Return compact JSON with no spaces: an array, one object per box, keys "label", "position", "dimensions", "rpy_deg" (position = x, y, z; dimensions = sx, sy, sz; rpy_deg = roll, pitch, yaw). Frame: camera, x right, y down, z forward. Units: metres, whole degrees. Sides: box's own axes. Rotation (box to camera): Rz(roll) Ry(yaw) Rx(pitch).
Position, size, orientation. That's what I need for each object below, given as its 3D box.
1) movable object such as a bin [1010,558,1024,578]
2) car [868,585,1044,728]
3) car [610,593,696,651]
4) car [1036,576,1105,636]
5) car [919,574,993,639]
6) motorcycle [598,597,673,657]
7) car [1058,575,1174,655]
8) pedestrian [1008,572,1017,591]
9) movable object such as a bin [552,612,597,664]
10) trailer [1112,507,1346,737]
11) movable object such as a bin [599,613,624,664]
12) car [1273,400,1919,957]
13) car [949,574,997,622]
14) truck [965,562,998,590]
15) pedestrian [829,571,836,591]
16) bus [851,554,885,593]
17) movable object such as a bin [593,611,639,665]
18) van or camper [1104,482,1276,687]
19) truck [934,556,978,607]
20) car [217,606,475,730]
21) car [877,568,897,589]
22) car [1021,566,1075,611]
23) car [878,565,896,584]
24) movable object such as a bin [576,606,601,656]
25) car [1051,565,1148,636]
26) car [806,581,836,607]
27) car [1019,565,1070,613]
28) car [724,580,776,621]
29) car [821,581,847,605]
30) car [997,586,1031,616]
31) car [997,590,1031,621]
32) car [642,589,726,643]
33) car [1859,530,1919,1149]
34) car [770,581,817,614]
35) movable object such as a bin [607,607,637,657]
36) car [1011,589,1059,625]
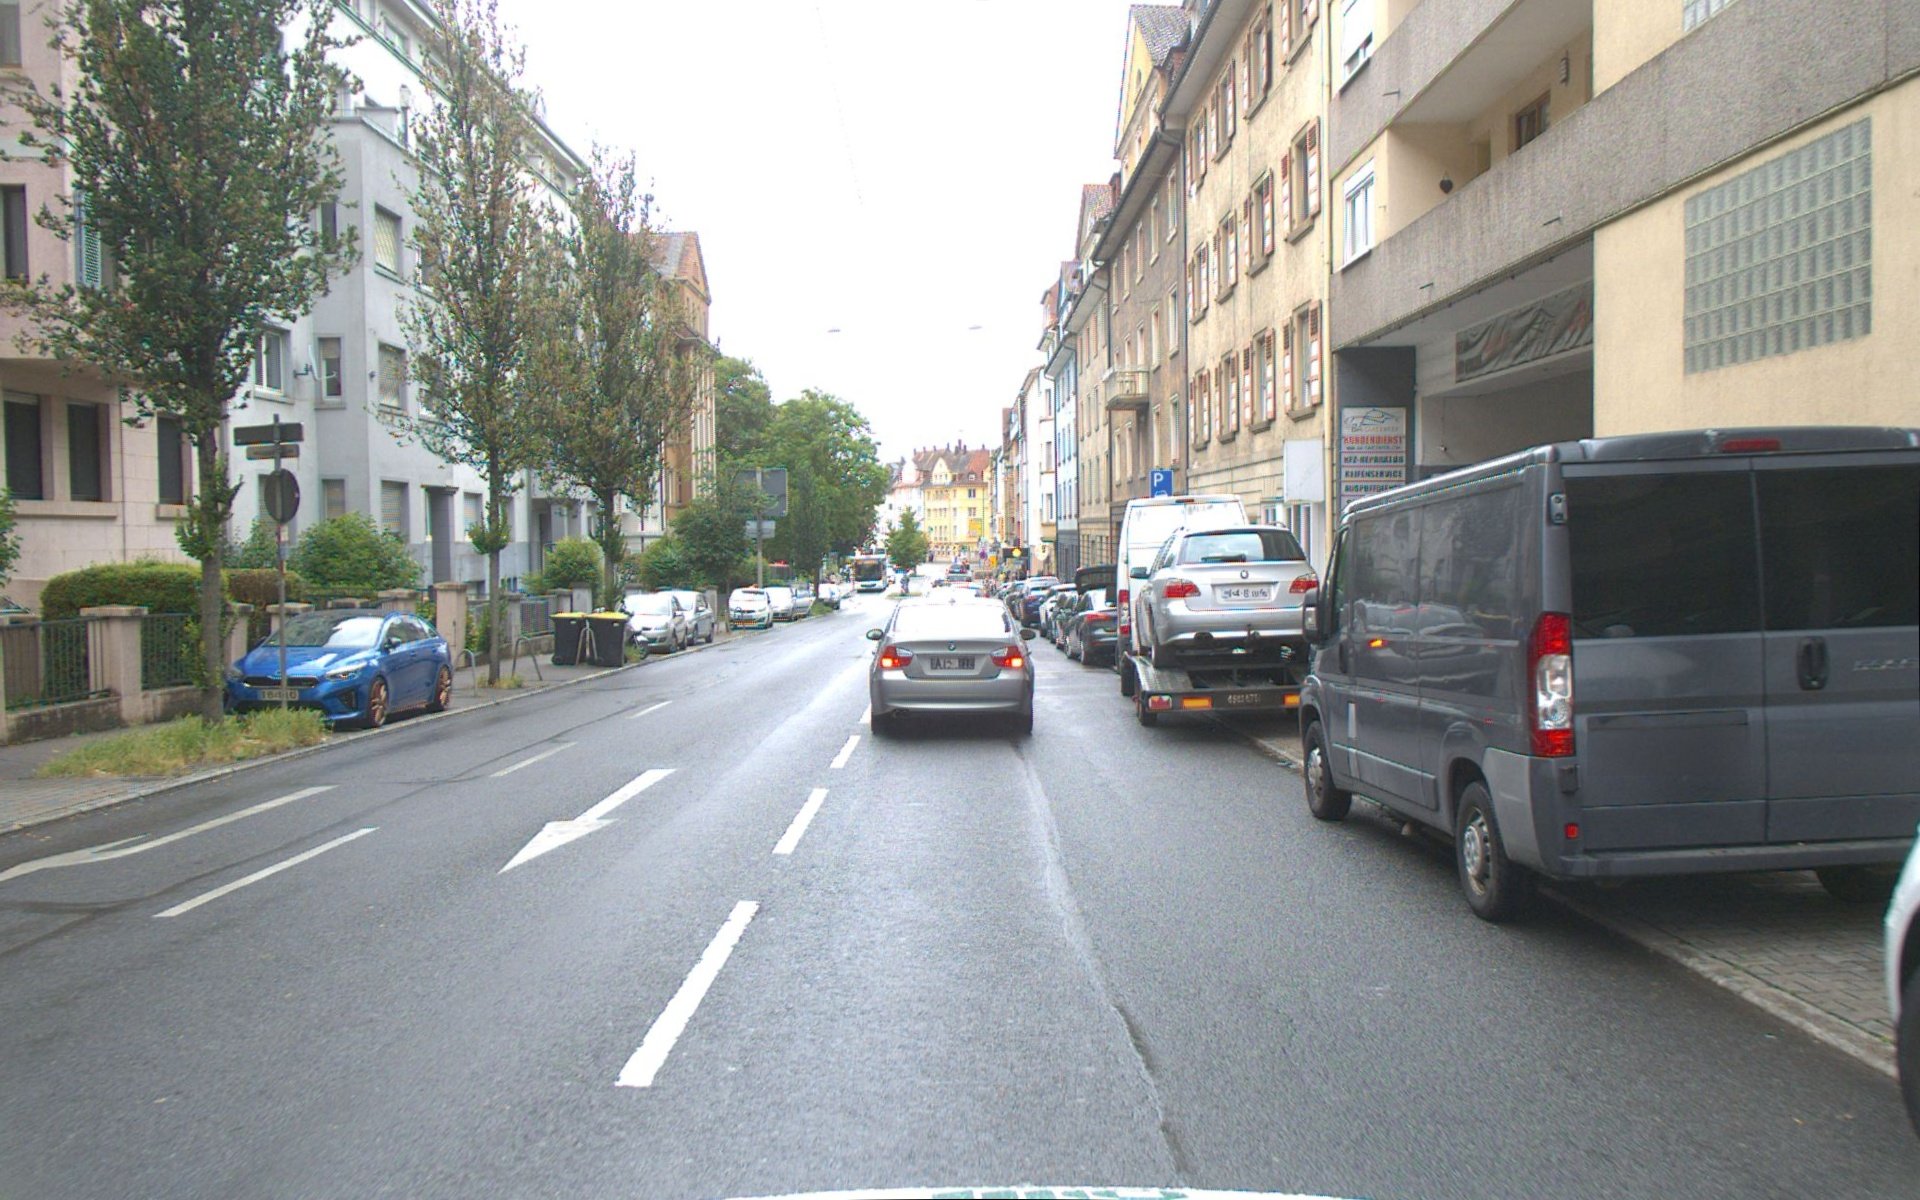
[{"label":"movable object such as a bin","position":[5.029,-2.836,146.263],"dimensions":[1.100,1.732,1.433],"rpy_deg":[-1,0,-3]},{"label":"car","position":[-0.052,0.563,17.980],"dimensions":[1.720,1.386,3.164],"rpy_deg":[1,0,-1]},{"label":"car","position":[-7.853,0.553,42.625],"dimensions":[1.568,1.421,3.886],"rpy_deg":[0,0,-1]},{"label":"car","position":[3.261,0.155,49.575],"dimensions":[1.599,1.667,4.193],"rpy_deg":[2,0,-2]},{"label":"car","position":[-0.129,0.157,39.676],"dimensions":[1.570,1.445,3.286],"rpy_deg":[2,0,-3]},{"label":"motorcycle","position":[-7.429,0.602,37.865],"dimensions":[1.778,1.338,0.738],"rpy_deg":[0,1,41]},{"label":"car","position":[3.117,0.283,33.828],"dimensions":[1.742,1.505,4.187],"rpy_deg":[-1,0,-3]},{"label":"pedestrian","position":[4.706,-1.665,147.968],"dimensions":[0.734,1.690,0.755],"rpy_deg":[2,0,5]},{"label":"movable object such as a bin","position":[-8.170,0.796,35.100],"dimensions":[0.808,1.076,0.483],"rpy_deg":[1,0,0]},{"label":"trailer","position":[2.899,0.143,18.915],"dimensions":[1.952,2.189,5.074],"rpy_deg":[-3,2,2]},{"label":"movable object such as a bin","position":[-7.469,0.818,35.425],"dimensions":[0.462,1.076,0.482],"rpy_deg":[2,0,-10]},{"label":"car","position":[3.424,0.283,9.393],"dimensions":[2.110,2.186,5.509],"rpy_deg":[-2,0,-1]},{"label":"car","position":[0.422,-0.047,51.372],"dimensions":[1.406,1.380,3.762],"rpy_deg":[2,0,1]},{"label":"truck","position":[1.799,-2.020,139.099],"dimensions":[2.173,2.153,4.647],"rpy_deg":[3,0,-5]},{"label":"pedestrian","position":[-11.264,-1.701,146.648],"dimensions":[0.532,1.739,0.465],"rpy_deg":[2,-1,-7]},{"label":"bus","position":[-8.432,-2.391,152.453],"dimensions":[2.627,3.256,11.952],"rpy_deg":[2,0,-1]},{"label":"movable object such as a bin","position":[-7.202,0.793,34.631],"dimensions":[0.808,1.076,0.483],"rpy_deg":[2,0,0]},{"label":"van or camper","position":[3.410,-0.258,25.777],"dimensions":[2.138,2.746,6.423],"rpy_deg":[-1,1,4]},{"label":"truck","position":[-0.256,-0.974,89.585],"dimensions":[2.172,2.588,4.778],"rpy_deg":[2,0,-1]},{"label":"car","position":[-7.796,0.793,21.484],"dimensions":[1.644,1.410,4.602],"rpy_deg":[-1,0,0]},{"label":"car","position":[-7.748,-2.251,175.564],"dimensions":[1.953,2.049,3.999],"rpy_deg":[3,0,-2]},{"label":"car","position":[3.235,-0.441,61.334],"dimensions":[1.754,1.575,4.226],"rpy_deg":[-2,1,0]},{"label":"car","position":[-8.312,-2.904,188.328],"dimensions":[1.953,2.049,3.999],"rpy_deg":[2,0,-2]},{"label":"movable object such as a bin","position":[-8.140,0.683,36.278],"dimensions":[0.462,1.076,0.482],"rpy_deg":[2,0,-10]},{"label":"car","position":[3.274,-0.019,39.594],"dimensions":[1.742,1.505,4.586],"rpy_deg":[-3,1,-2]},{"label":"car","position":[-8.273,-0.394,98.563],"dimensions":[1.620,1.479,3.941],"rpy_deg":[-1,1,-2]},{"label":"car","position":[3.437,-0.459,67.730],"dimensions":[1.754,1.849,4.079],"rpy_deg":[-2,1,-1]},{"label":"car","position":[-8.011,0.022,63.192],"dimensions":[1.612,1.534,3.795],"rpy_deg":[0,0,-2]},{"label":"car","position":[-7.852,-0.464,103.492],"dimensions":[1.599,1.479,3.836],"rpy_deg":[0,1,-4]},{"label":"car","position":[3.091,0.045,95.609],"dimensions":[1.781,1.585,4.293],"rpy_deg":[-2,1,0]},{"label":"car","position":[2.844,0.285,86.977],"dimensions":[1.551,1.454,3.594],"rpy_deg":[-3,1,-1]},{"label":"car","position":[-7.942,0.456,47.824],"dimensions":[1.567,1.476,3.889],"rpy_deg":[0,0,3]},{"label":"car","position":[3.459,0.637,2.572],"dimensions":[1.711,1.668,4.272],"rpy_deg":[-2,0,-1]},{"label":"car","position":[-7.359,-0.128,73.303],"dimensions":[1.648,1.414,3.909],"rpy_deg":[0,1,0]},{"label":"movable object such as a bin","position":[-7.419,0.699,36.277],"dimensions":[0.513,1.076,0.483],"rpy_deg":[2,0,1]},{"label":"car","position":[3.332,0.290,74.408],"dimensions":[1.803,1.433,4.386],"rpy_deg":[-3,1,-2]}]
